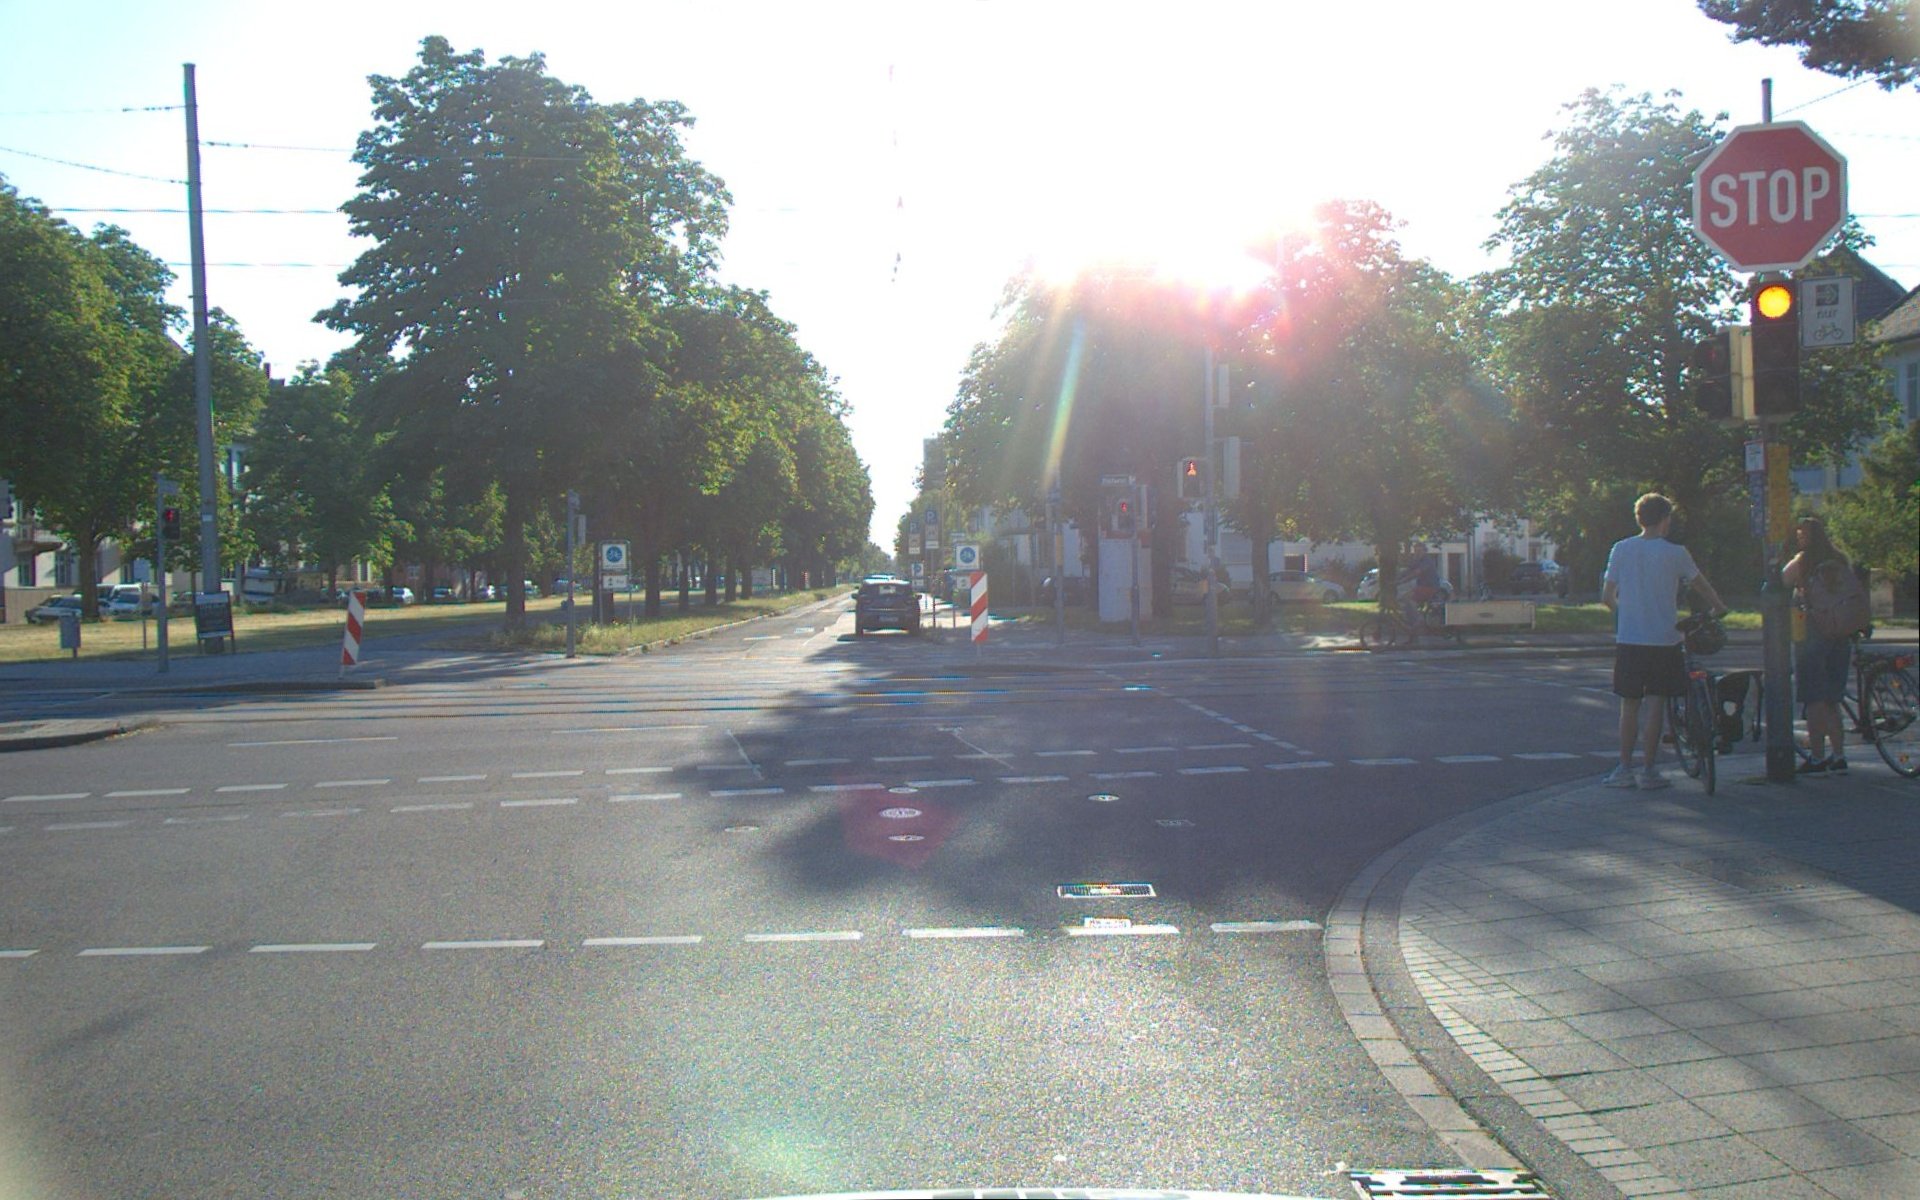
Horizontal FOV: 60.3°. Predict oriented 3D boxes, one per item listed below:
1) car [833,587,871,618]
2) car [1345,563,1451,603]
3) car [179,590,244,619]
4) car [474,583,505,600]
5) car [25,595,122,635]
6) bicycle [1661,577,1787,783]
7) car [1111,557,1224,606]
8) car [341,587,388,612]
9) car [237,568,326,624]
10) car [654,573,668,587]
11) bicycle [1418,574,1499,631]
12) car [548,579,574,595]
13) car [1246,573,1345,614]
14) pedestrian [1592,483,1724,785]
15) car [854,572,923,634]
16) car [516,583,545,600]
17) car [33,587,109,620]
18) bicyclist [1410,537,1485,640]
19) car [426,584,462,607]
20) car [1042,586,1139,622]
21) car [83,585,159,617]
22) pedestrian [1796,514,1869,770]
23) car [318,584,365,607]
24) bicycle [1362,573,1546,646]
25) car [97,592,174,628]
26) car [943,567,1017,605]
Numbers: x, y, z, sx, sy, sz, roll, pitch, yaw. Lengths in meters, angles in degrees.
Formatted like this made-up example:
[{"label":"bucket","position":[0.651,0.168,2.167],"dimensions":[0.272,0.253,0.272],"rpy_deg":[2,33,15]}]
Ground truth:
[{"label":"car","position":[-5.097,0.116,78.190],"dimensions":[1.675,1.383,4.201],"rpy_deg":[1,0,-2]},{"label":"car","position":[17.530,-0.686,66.234],"dimensions":[3.847,1.550,1.521],"rpy_deg":[0,-1,-8]},{"label":"car","position":[-46.117,0.292,101.954],"dimensions":[1.953,1.688,4.569],"rpy_deg":[1,0,-1]},{"label":"car","position":[-48.873,-0.889,171.938],"dimensions":[1.953,1.688,4.354],"rpy_deg":[1,0,-1]},{"label":"car","position":[-40.147,0.669,75.027],"dimensions":[1.953,1.688,4.569],"rpy_deg":[1,0,-1]},{"label":"bicycle","position":[4.910,0.454,10.709],"dimensions":[0.560,1.204,1.906],"rpy_deg":[1,1,20]},{"label":"car","position":[8.194,-0.726,65.666],"dimensions":[4.157,1.908,2.029],"rpy_deg":[-1,0,-3]},{"label":"car","position":[-41.738,-0.048,115.994],"dimensions":[1.841,1.703,4.313],"rpy_deg":[1,0,-2]},{"label":"car","position":[-41.064,-0.302,100.401],"dimensions":[2.344,3.185,7.850],"rpy_deg":[1,1,-2]},{"label":"car","position":[-45.832,-3.061,253.281],"dimensions":[1.621,1.972,3.565],"rpy_deg":[1,-1,-3]},{"label":"bicycle","position":[9.943,0.054,33.018],"dimensions":[1.489,1.108,0.468],"rpy_deg":[-1,0,7]},{"label":"car","position":[-44.965,-1.486,186.465],"dimensions":[1.954,1.688,4.568],"rpy_deg":[-1,1,-3]},{"label":"car","position":[13.278,-0.274,65.542],"dimensions":[3.487,1.542,1.602],"rpy_deg":[-1,0,-8]},{"label":"pedestrian","position":[4.624,0.218,11.000],"dimensions":[0.614,1.899,0.775],"rpy_deg":[-4,0,18]},{"label":"car","position":[-1.876,0.085,44.583],"dimensions":[1.690,1.537,4.539],"rpy_deg":[1,0,-1]},{"label":"car","position":[-43.308,-0.827,166.891],"dimensions":[1.982,1.688,3.982],"rpy_deg":[1,0,-2]},{"label":"car","position":[-45.981,0.182,85.611],"dimensions":[1.681,1.661,4.190],"rpy_deg":[1,0,-1]},{"label":"bicyclist","position":[8.612,-0.197,29.241],"dimensions":[1.120,1.753,0.876],"rpy_deg":[-2,0,10]},{"label":"car","position":[-42.480,-0.374,136.164],"dimensions":[1.775,1.812,4.121],"rpy_deg":[1,0,-2]},{"label":"car","position":[5.558,0.166,70.635],"dimensions":[3.907,1.472,1.715],"rpy_deg":[-1,0,-3]},{"label":"car","position":[-46.799,0.065,92.373],"dimensions":[1.953,1.688,4.569],"rpy_deg":[1,0,-1]},{"label":"pedestrian","position":[5.637,0.261,10.695],"dimensions":[0.342,1.613,0.462],"rpy_deg":[1,-1,20]},{"label":"car","position":[-47.017,-0.326,125.892],"dimensions":[1.953,1.688,4.373],"rpy_deg":[1,0,-1]},{"label":"bicycle","position":[8.693,0.163,29.233],"dimensions":[3.008,1.182,0.876],"rpy_deg":[-2,0,10]},{"label":"car","position":[-40.224,0.471,80.800],"dimensions":[1.760,1.581,4.416],"rpy_deg":[1,1,-4]},{"label":"car","position":[1.117,-0.779,93.596],"dimensions":[3.911,1.854,1.757],"rpy_deg":[-2,-5,-7]}]
